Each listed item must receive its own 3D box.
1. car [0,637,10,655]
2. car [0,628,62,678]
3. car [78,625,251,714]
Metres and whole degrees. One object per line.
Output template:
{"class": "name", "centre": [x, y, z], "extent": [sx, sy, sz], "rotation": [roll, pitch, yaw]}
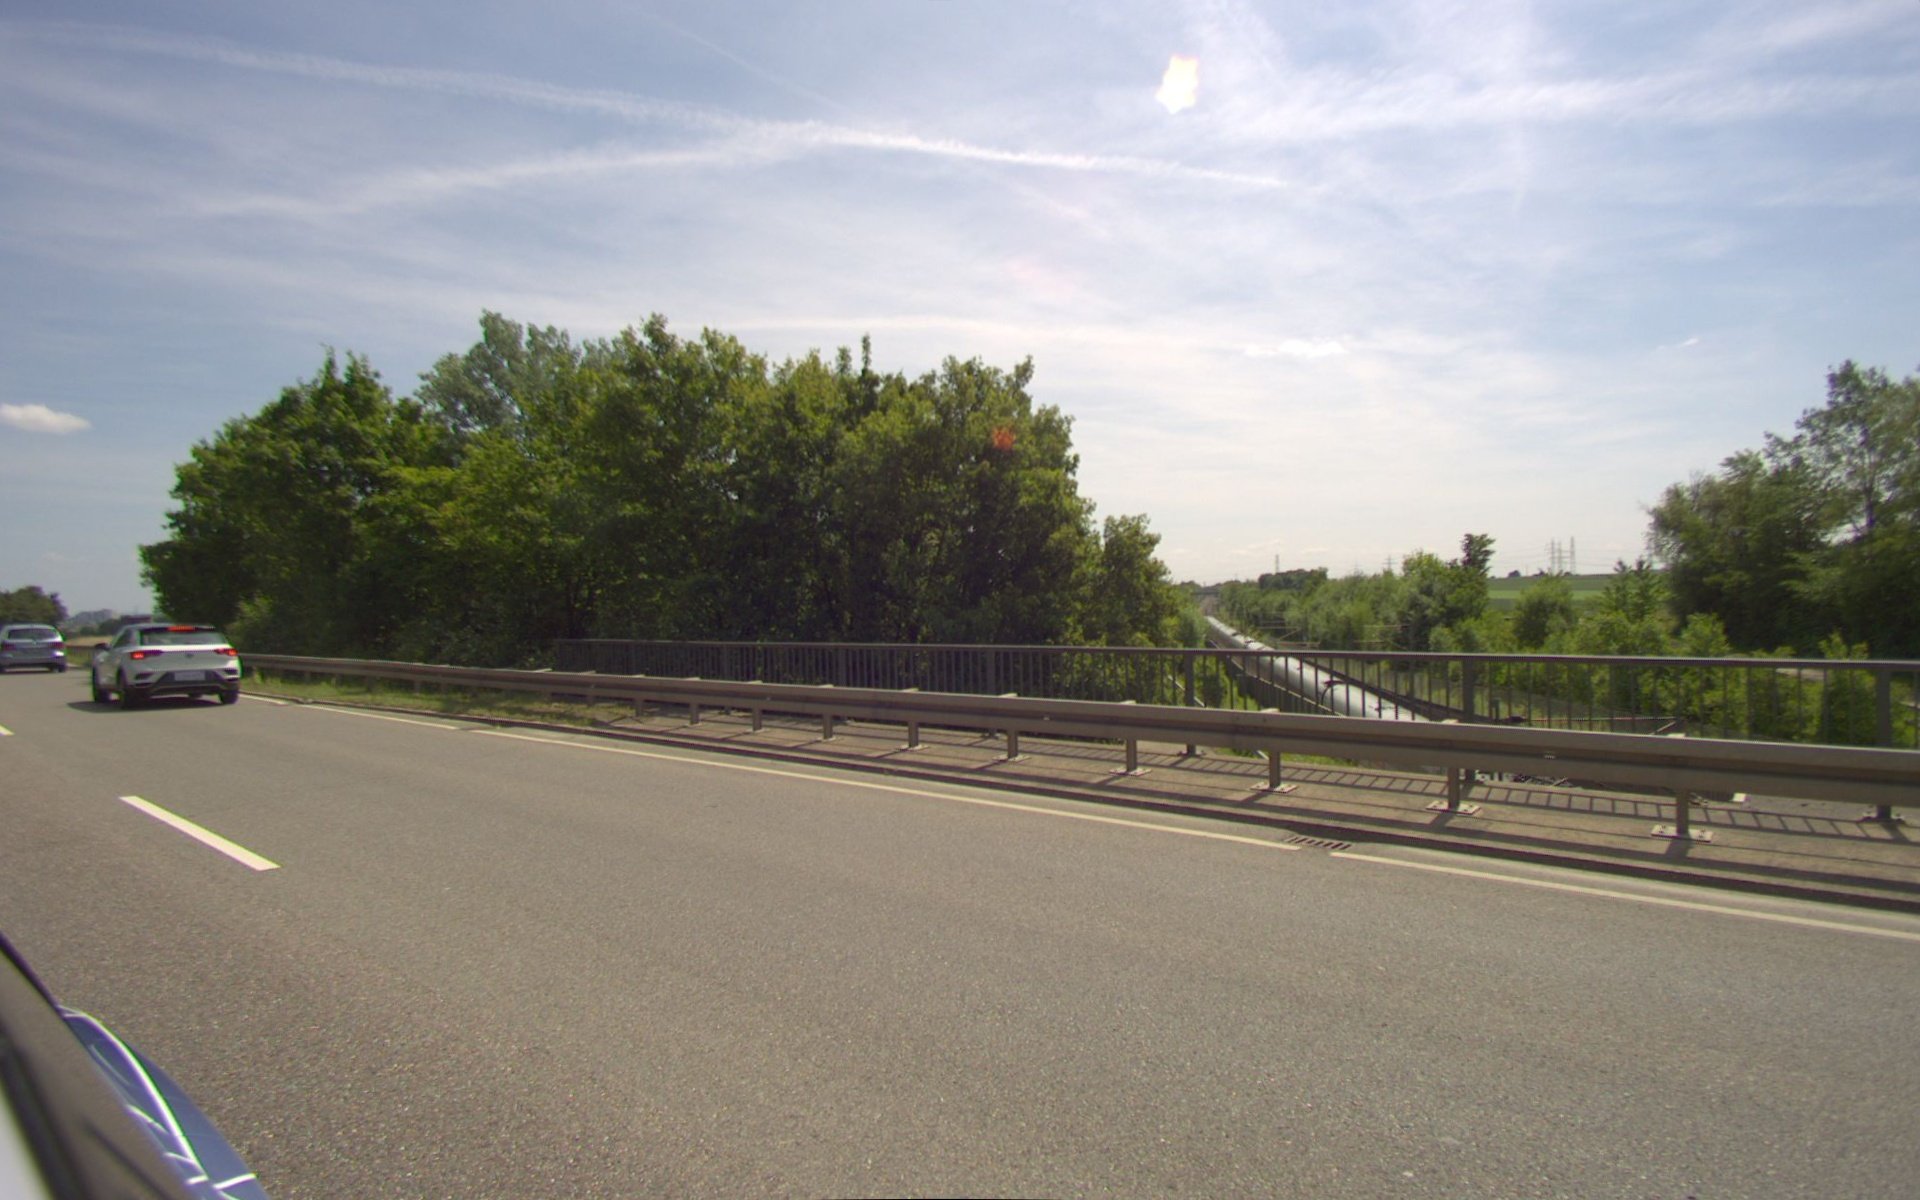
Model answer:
{"class": "car", "centre": [-79.945, 3.808, 83.637], "extent": [1.722, 1.478, 5.136], "rotation": [0, -2, -40]}
{"class": "car", "centre": [-31.617, 1.748, 34.213], "extent": [1.641, 1.563, 4.340], "rotation": [1, -2, -45]}
{"class": "car", "centre": [-15.680, 1.287, 19.871], "extent": [4.541, 1.523, 1.860], "rotation": [-2, -2, 41]}
